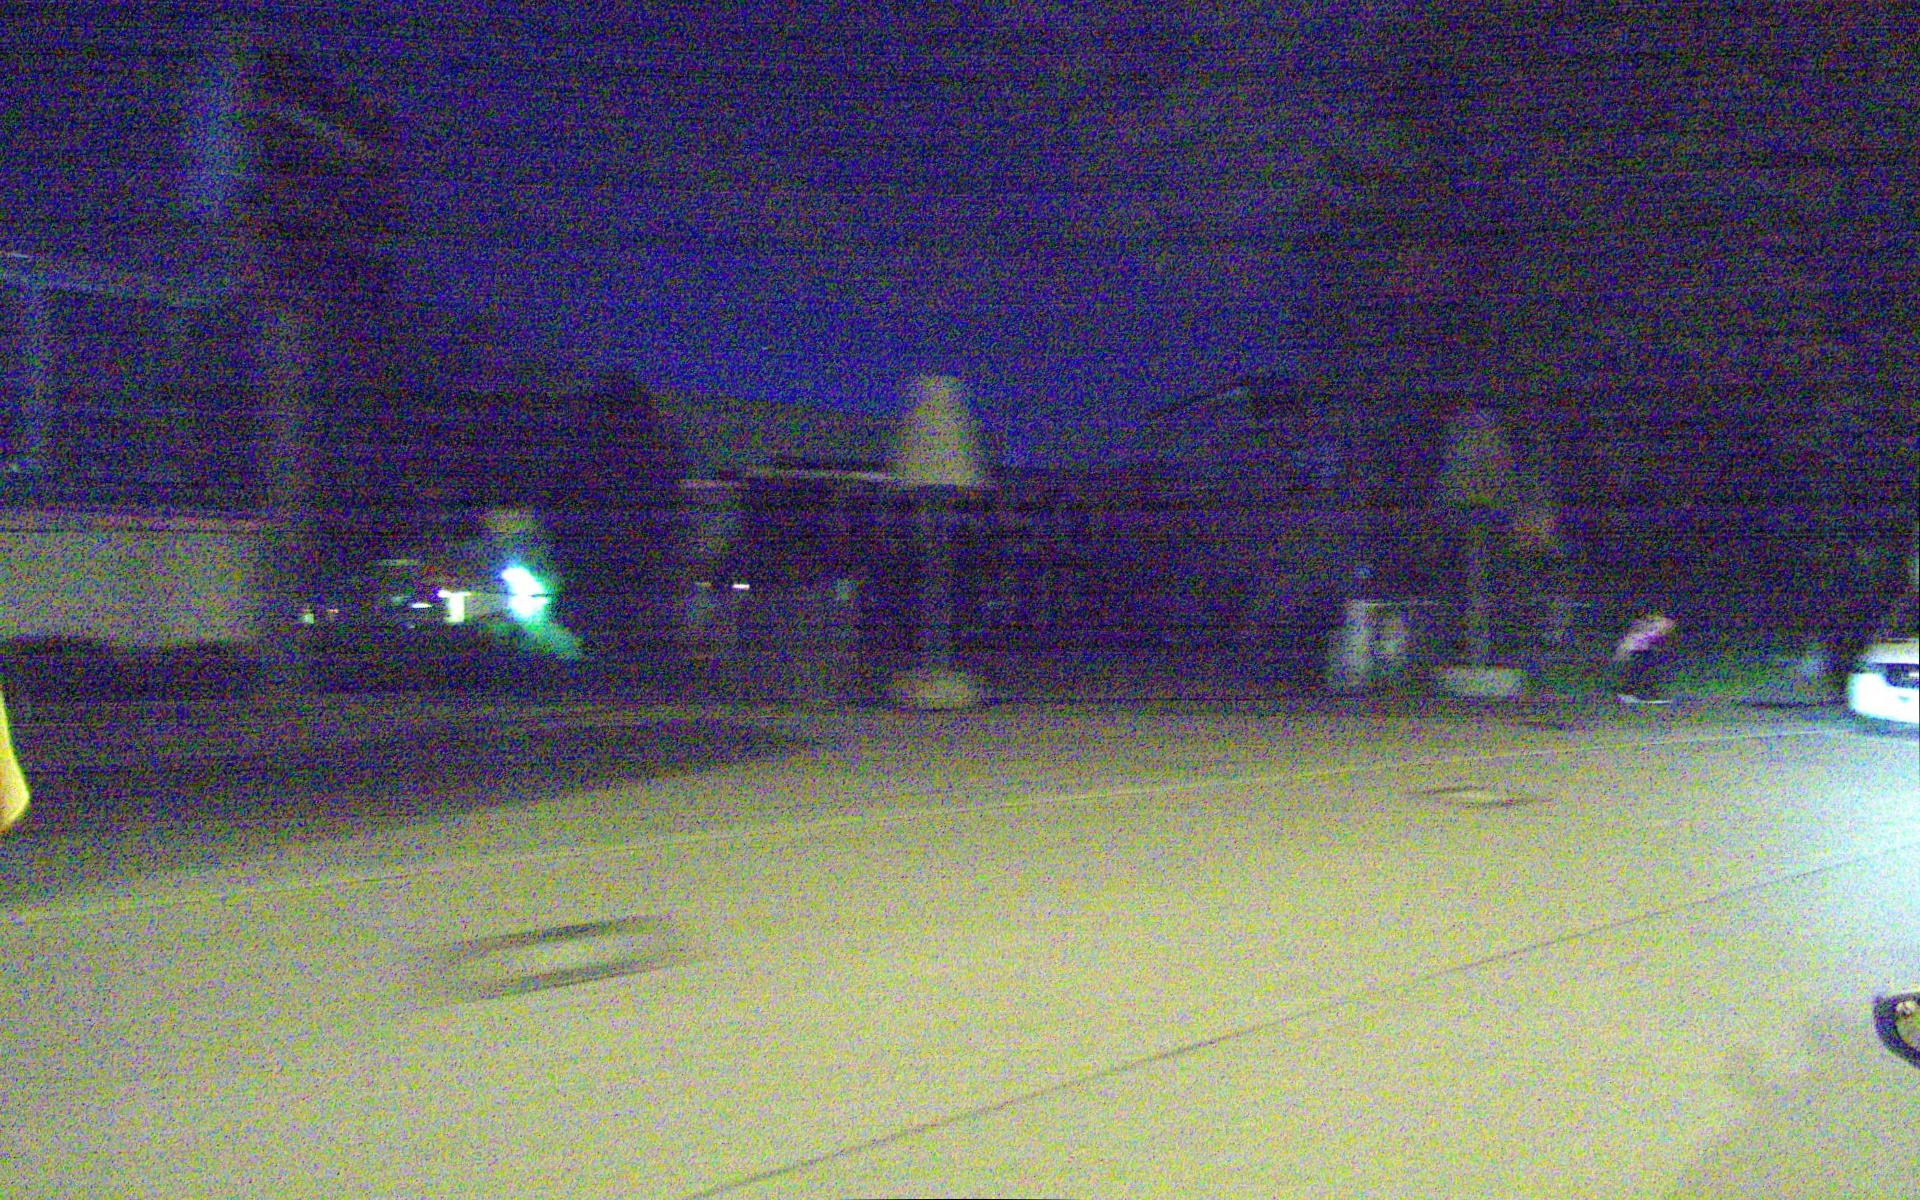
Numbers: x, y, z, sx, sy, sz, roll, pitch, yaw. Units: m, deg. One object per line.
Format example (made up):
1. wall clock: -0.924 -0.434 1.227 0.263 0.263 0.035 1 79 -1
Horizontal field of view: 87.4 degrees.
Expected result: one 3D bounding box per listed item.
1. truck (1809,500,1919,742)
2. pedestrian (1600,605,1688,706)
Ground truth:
1. truck: 16.273 0.362 15.161 7.130 3.286 2.367 1 0 -24
2. pedestrian: 11.844 0.954 17.412 0.986 1.693 0.780 1 -1 2
